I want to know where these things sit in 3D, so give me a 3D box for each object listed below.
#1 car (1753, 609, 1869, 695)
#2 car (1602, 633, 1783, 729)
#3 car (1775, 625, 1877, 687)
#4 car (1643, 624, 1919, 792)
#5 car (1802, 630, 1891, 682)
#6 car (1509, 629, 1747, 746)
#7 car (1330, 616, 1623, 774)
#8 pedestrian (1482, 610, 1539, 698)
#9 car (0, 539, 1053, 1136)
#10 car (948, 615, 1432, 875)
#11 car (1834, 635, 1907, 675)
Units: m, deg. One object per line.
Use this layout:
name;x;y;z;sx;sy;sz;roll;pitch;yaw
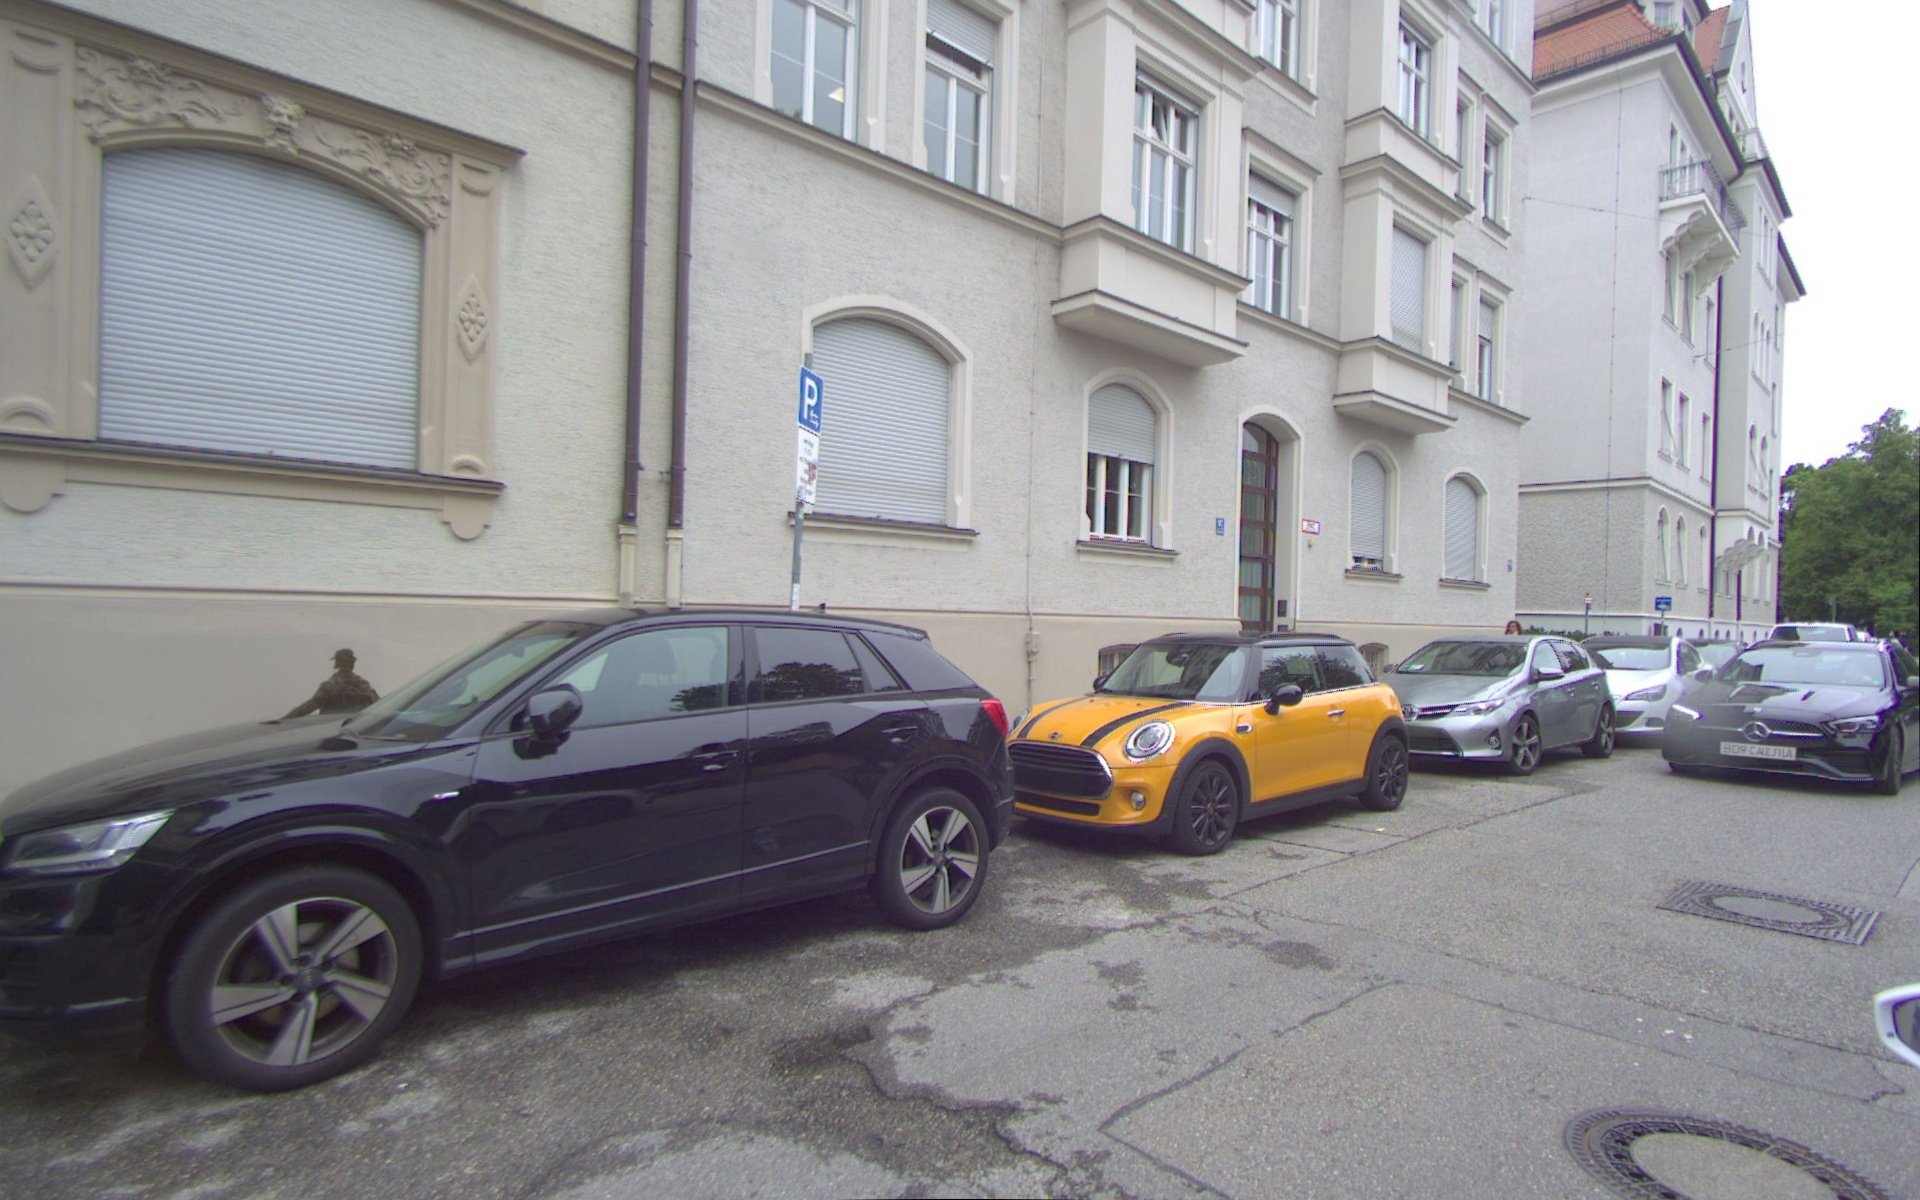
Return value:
car;23.194;1.382;27.319;4.674;2.155;1.868;2;-3;-44
car;13.235;1.372;18.057;4.244;1.519;1.819;2;-3;-43
car;27.401;1.738;31.739;4.383;1.794;1.996;2;-3;-44
car;9.236;1.020;10.877;4.371;1.447;1.860;2;-2;-39
car;31.564;1.954;35.727;4.245;1.748;1.996;2;-3;-44
car;9.843;1.176;14.673;4.241;1.456;1.821;2;-3;-41
car;6.067;0.995;11.623;3.900;1.519;1.711;3;-3;-41
pedestrian;11.051;1.064;20.163;0.695;1.701;0.784;2;0;-44
car;-1.584;0.684;4.489;3.987;1.519;1.738;2;-3;-41
car;1.934;0.920;7.790;3.939;1.519;1.627;1;-3;-40
car;39.844;2.366;43.932;4.383;1.655;1.996;2;-3;-44
